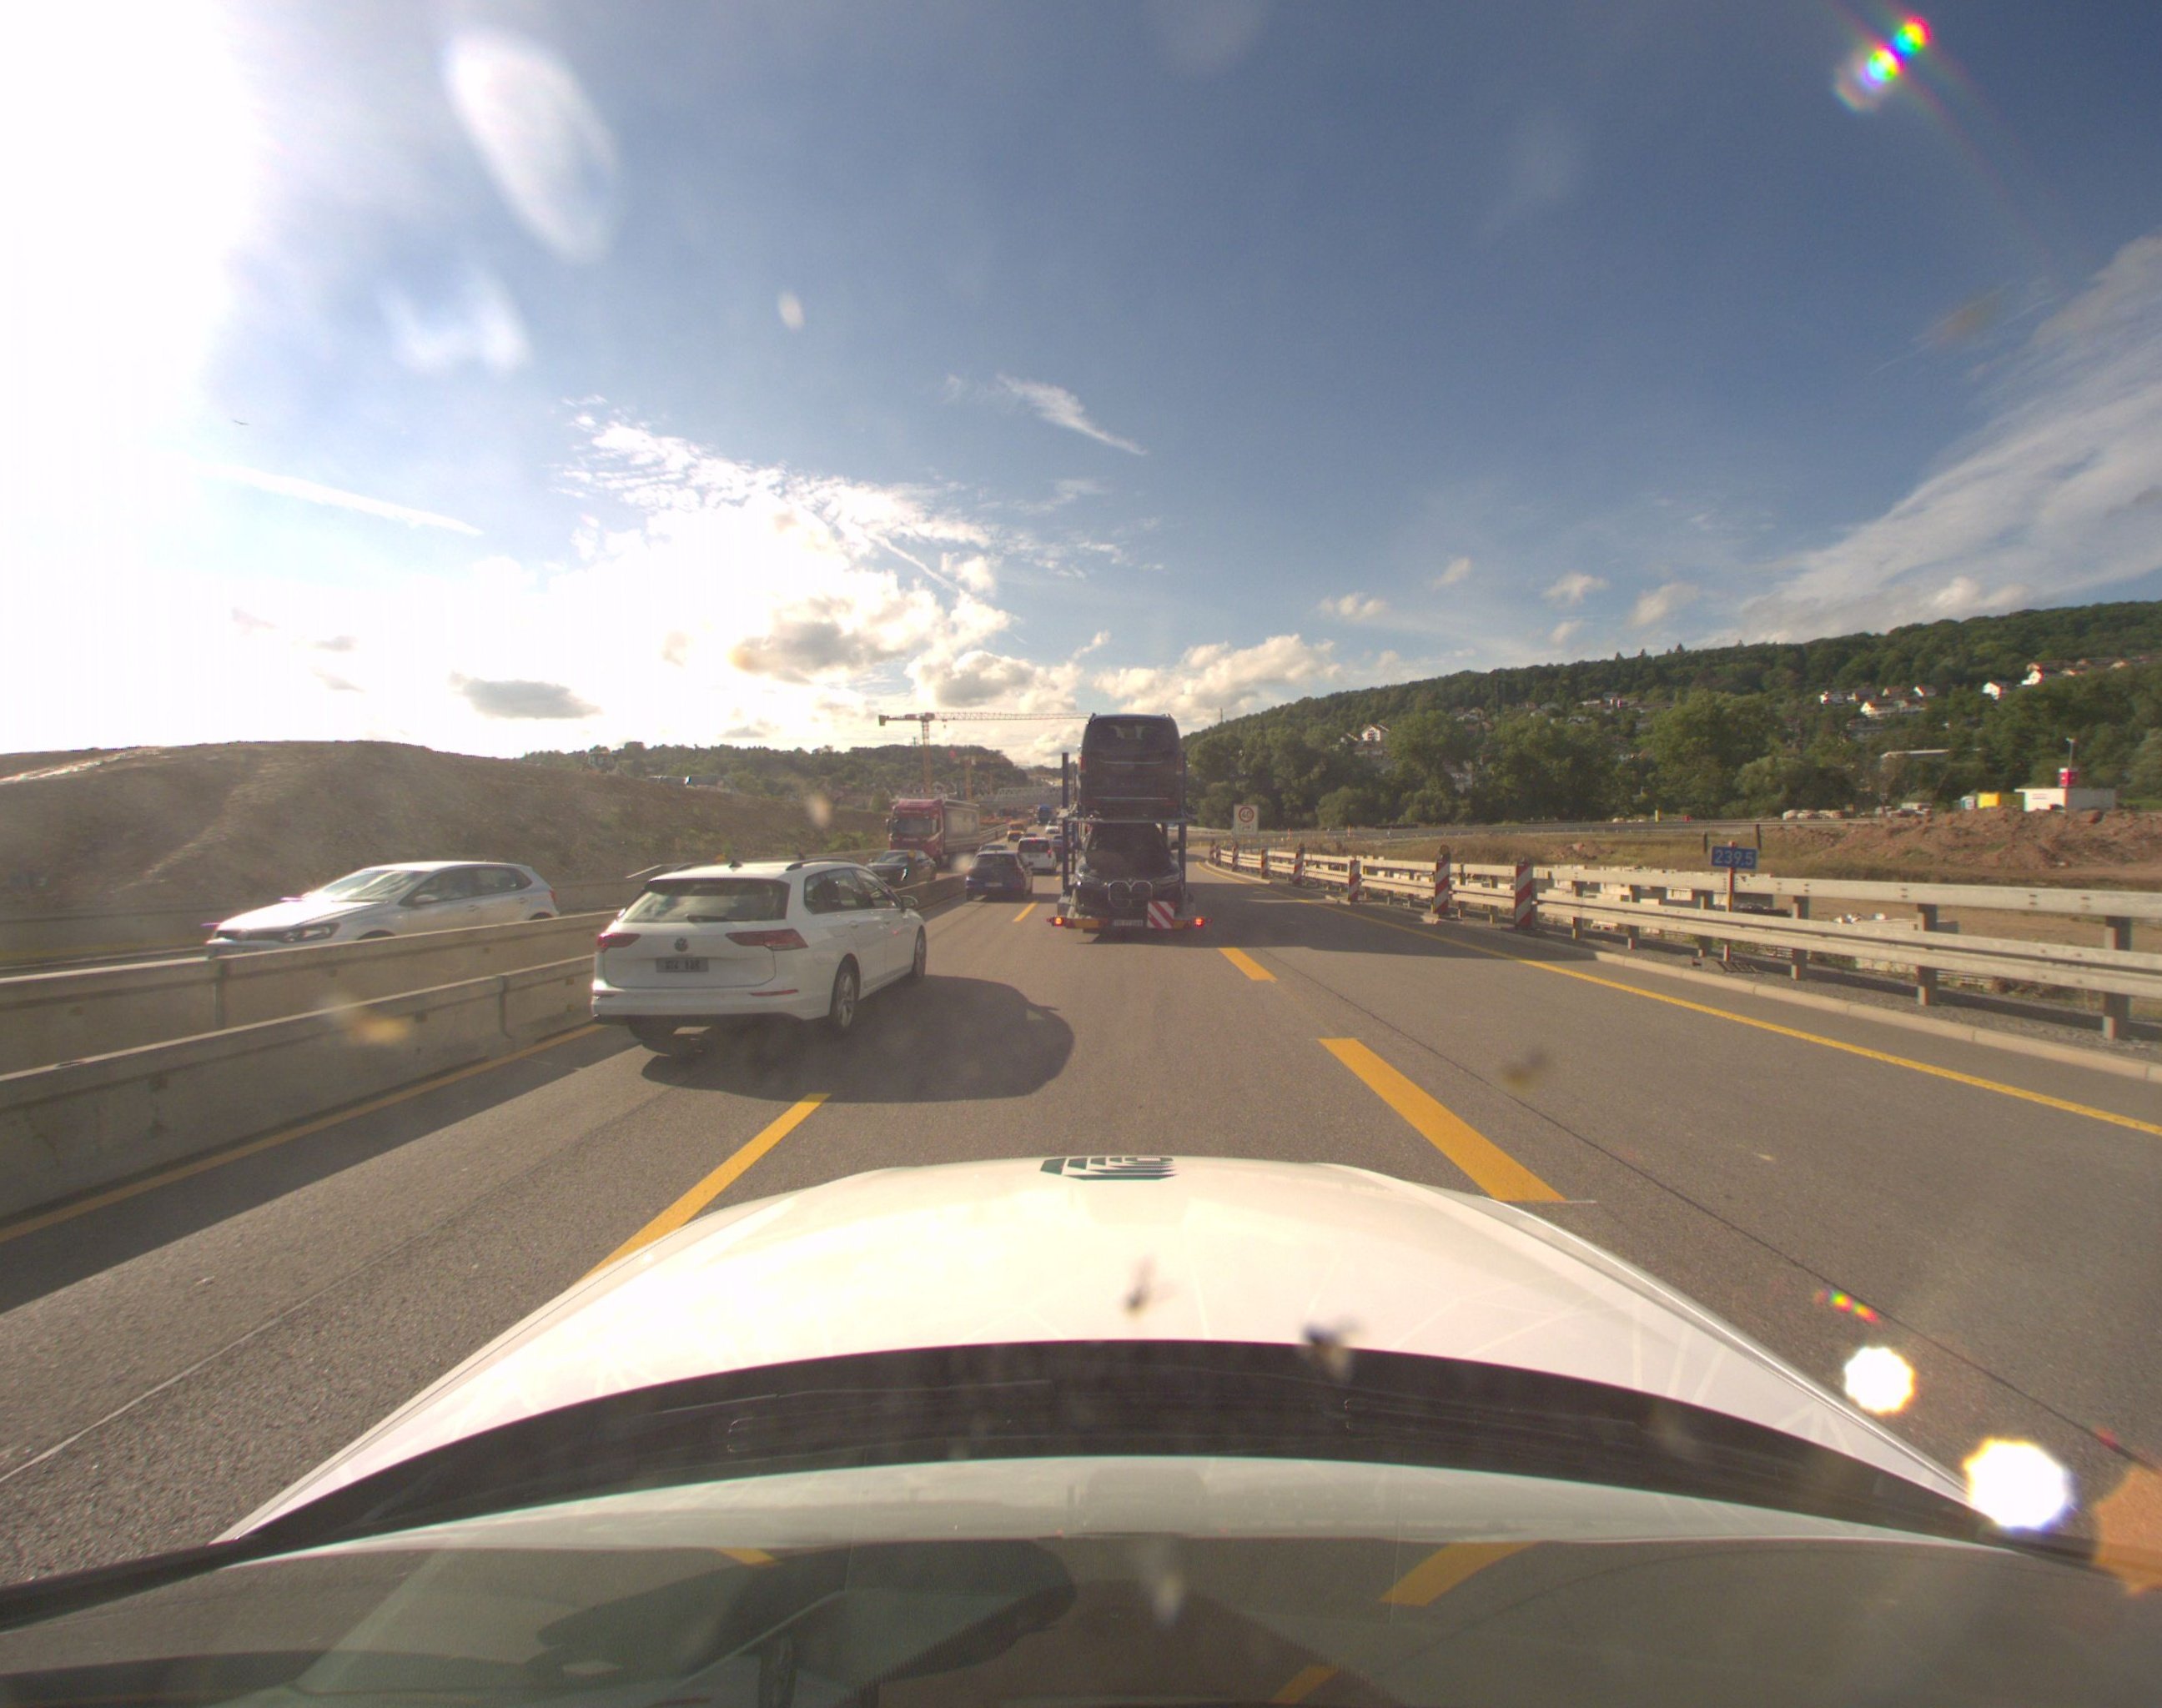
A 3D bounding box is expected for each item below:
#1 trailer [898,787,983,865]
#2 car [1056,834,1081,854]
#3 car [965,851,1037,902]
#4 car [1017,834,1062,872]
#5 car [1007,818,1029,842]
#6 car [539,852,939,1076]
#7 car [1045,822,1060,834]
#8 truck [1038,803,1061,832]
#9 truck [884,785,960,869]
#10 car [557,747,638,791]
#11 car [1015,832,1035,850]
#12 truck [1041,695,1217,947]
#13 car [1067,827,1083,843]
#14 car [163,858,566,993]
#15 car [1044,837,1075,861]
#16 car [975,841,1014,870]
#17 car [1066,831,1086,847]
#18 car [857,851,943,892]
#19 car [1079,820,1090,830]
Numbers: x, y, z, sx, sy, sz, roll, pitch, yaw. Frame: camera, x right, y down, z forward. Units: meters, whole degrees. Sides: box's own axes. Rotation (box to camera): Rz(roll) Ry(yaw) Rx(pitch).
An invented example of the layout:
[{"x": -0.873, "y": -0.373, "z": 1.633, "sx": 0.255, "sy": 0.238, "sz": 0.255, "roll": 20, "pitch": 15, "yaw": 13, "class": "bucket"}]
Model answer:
[{"x": -8.799, "y": -1.658, "z": 53.063, "sx": 2.966, "sy": 4.422, "sz": 13.817, "roll": 1, "pitch": 1, "yaw": 1, "class": "trailer"}, {"x": -1.081, "y": -0.857, "z": 71.863, "sx": 1.985, "sy": 1.552, "sz": 4.002, "roll": 0, "pitch": -1, "yaw": 2, "class": "car"}, {"x": -2.335, "y": 0.621, "z": 24.719, "sx": 1.716, "sy": 1.422, "sz": 4.001, "roll": 0, "pitch": 0, "yaw": 1, "class": "car"}, {"x": -2.033, "y": 0.003, "z": 40.665, "sx": 1.815, "sy": 1.792, "sz": 4.003, "roll": 0, "pitch": -1, "yaw": 3, "class": "car"}, {"x": -7.757, "y": -2.937, "z": 100.661, "sx": 1.985, "sy": 2.879, "sz": 6.068, "roll": 0, "pitch": 1, "yaw": 2, "class": "car"}, {"x": -2.731, "y": 0.746, "z": 7.815, "sx": 1.763, "sy": 1.491, "sz": 4.519, "roll": -1, "pitch": 0, "yaw": 2, "class": "car"}, {"x": -4.296, "y": -3.866, "z": 122.499, "sx": 1.986, "sy": 1.683, "sz": 4.001, "roll": 0, "pitch": 1, "yaw": 1, "class": "car"}, {"x": -6.064, "y": -6.990, "z": 158.841, "sx": 2.808, "sy": 4.789, "sz": 13.071, "roll": 0, "pitch": -1, "yaw": 5, "class": "truck"}, {"x": -8.930, "y": -1.464, "z": 46.406, "sx": 2.904, "sy": 4.387, "sz": 6.288, "roll": 1, "pitch": 1, "yaw": 1, "class": "truck"}, {"x": -32.532, "y": -5.668, "z": 55.004, "sx": 1.987, "sy": 2.140, "sz": 5.322, "roll": -5, "pitch": -1, "yaw": 1, "class": "car"}, {"x": -5.474, "y": -1.254, "z": 80.012, "sx": 1.840, "sy": 1.648, "sz": 4.233, "roll": 0, "pitch": 0, "yaw": -2, "class": "car"}, {"x": 1.025, "y": -0.706, "z": 22.380, "sx": 2.743, "sy": 3.954, "sz": 18.898, "roll": 1, "pitch": 1, "yaw": 2, "class": "truck"}, {"x": -0.810, "y": -2.676, "z": 113.458, "sx": 1.986, "sy": 2.014, "sz": 4.002, "roll": 0, "pitch": -1, "yaw": 2, "class": "car"}, {"x": -9.151, "y": 0.791, "z": 10.899, "sx": 1.744, "sy": 1.440, "sz": 3.813, "roll": 0, "pitch": 0, "yaw": 8, "class": "car"}, {"x": -1.461, "y": -0.327, "z": 57.974, "sx": 1.986, "sy": 1.556, "sz": 4.401, "roll": 0, "pitch": -1, "yaw": 1, "class": "car"}, {"x": -5.193, "y": 0.073, "z": 49.455, "sx": 1.838, "sy": 1.648, "sz": 4.504, "roll": 0, "pitch": 0, "yaw": 0, "class": "car"}, {"x": -0.524, "y": -1.625, "z": 89.793, "sx": 1.985, "sy": 1.666, "sz": 4.003, "roll": 0, "pitch": -1, "yaw": 3, "class": "car"}, {"x": -6.766, "y": 0.617, "z": 30.963, "sx": 1.812, "sy": 1.440, "sz": 4.622, "roll": 0, "pitch": 0, "yaw": 6, "class": "car"}, {"x": 0.641, "y": -5.370, "z": 149.628, "sx": 1.839, "sy": 1.648, "sz": 4.503, "roll": 0, "pitch": 0, "yaw": -1, "class": "car"}]
